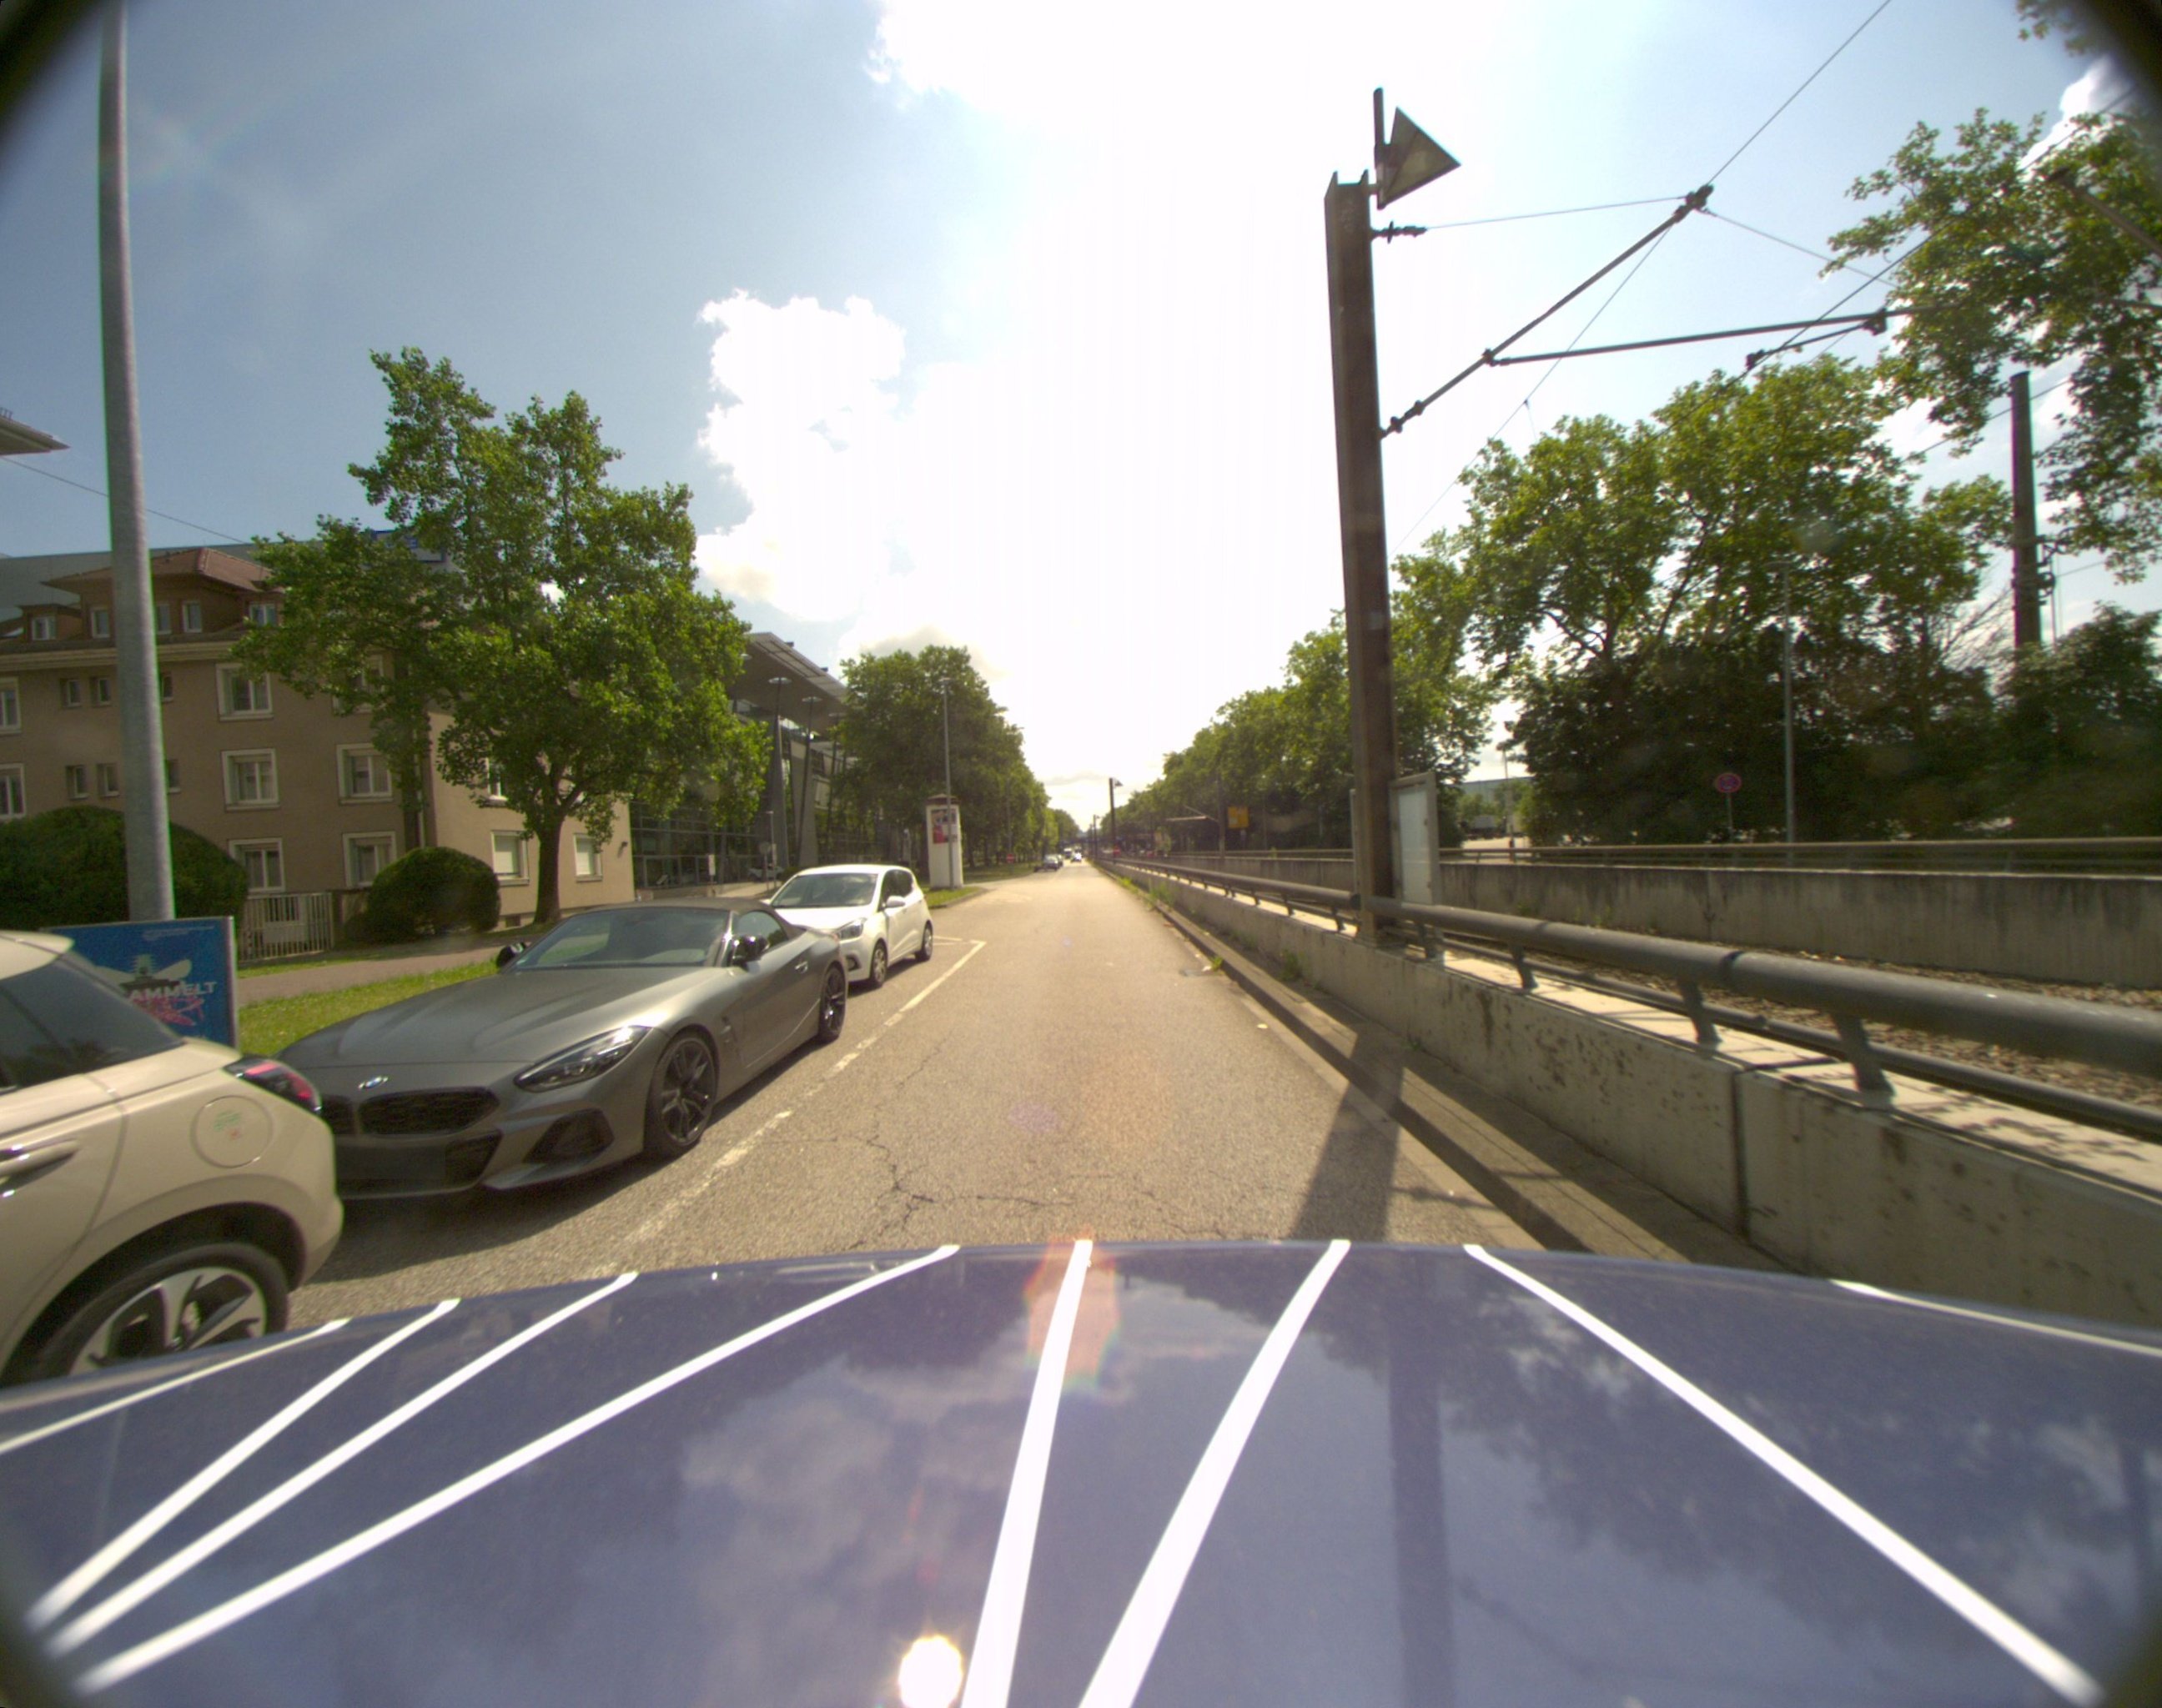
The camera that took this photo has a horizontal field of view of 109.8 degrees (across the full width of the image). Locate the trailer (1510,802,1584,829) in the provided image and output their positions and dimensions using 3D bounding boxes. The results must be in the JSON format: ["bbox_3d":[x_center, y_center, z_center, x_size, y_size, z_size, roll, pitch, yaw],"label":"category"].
[{"bbox_3d":[68.850,-5.608,112.367,8.869,3.478,2.873,-2,2,40],"label":"trailer"}]

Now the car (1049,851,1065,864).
[{"bbox_3d":[-3.027,0.425,97.884,1.809,1.496,3.733,-4,1,1],"label":"car"}]

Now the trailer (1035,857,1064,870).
[{"bbox_3d":[-2.871,0.862,71.270,2.303,0.823,6.818,-3,1,1],"label":"trailer"}]

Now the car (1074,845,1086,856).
[{"bbox_3d":[-0.183,-0.669,132.613,1.998,1.711,4.304,-3,1,1],"label":"car"}]

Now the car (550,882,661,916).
[{"bbox_3d":[-24.928,2.348,39.933,4.464,1.346,1.999,-4,1,-2],"label":"car"}]

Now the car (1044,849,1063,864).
[{"bbox_3d":[-3.001,0.267,82.788,1.809,1.496,3.733,-4,1,1],"label":"car"}]

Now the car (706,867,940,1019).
[{"bbox_3d":[-3.194,1.017,10.281,1.711,1.471,3.789,-3,1,1],"label":"car"}]

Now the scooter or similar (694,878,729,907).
[{"bbox_3d":[-17.895,1.847,36.786,1.442,1.296,0.548,-4,2,16],"label":"scooter or similar"}]

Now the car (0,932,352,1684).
[{"bbox_3d":[-3.195,1.065,0.436,1.673,1.506,3.850,-3,1,2],"label":"car"}]

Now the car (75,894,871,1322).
[{"bbox_3d":[-3.019,1.131,5.238,1.828,1.304,4.441,-3,1,0],"label":"car"}]

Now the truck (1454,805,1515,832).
[{"bbox_3d":[62.449,-5.470,117.672,7.704,3.641,3.065,-1,2,40],"label":"truck"}]
